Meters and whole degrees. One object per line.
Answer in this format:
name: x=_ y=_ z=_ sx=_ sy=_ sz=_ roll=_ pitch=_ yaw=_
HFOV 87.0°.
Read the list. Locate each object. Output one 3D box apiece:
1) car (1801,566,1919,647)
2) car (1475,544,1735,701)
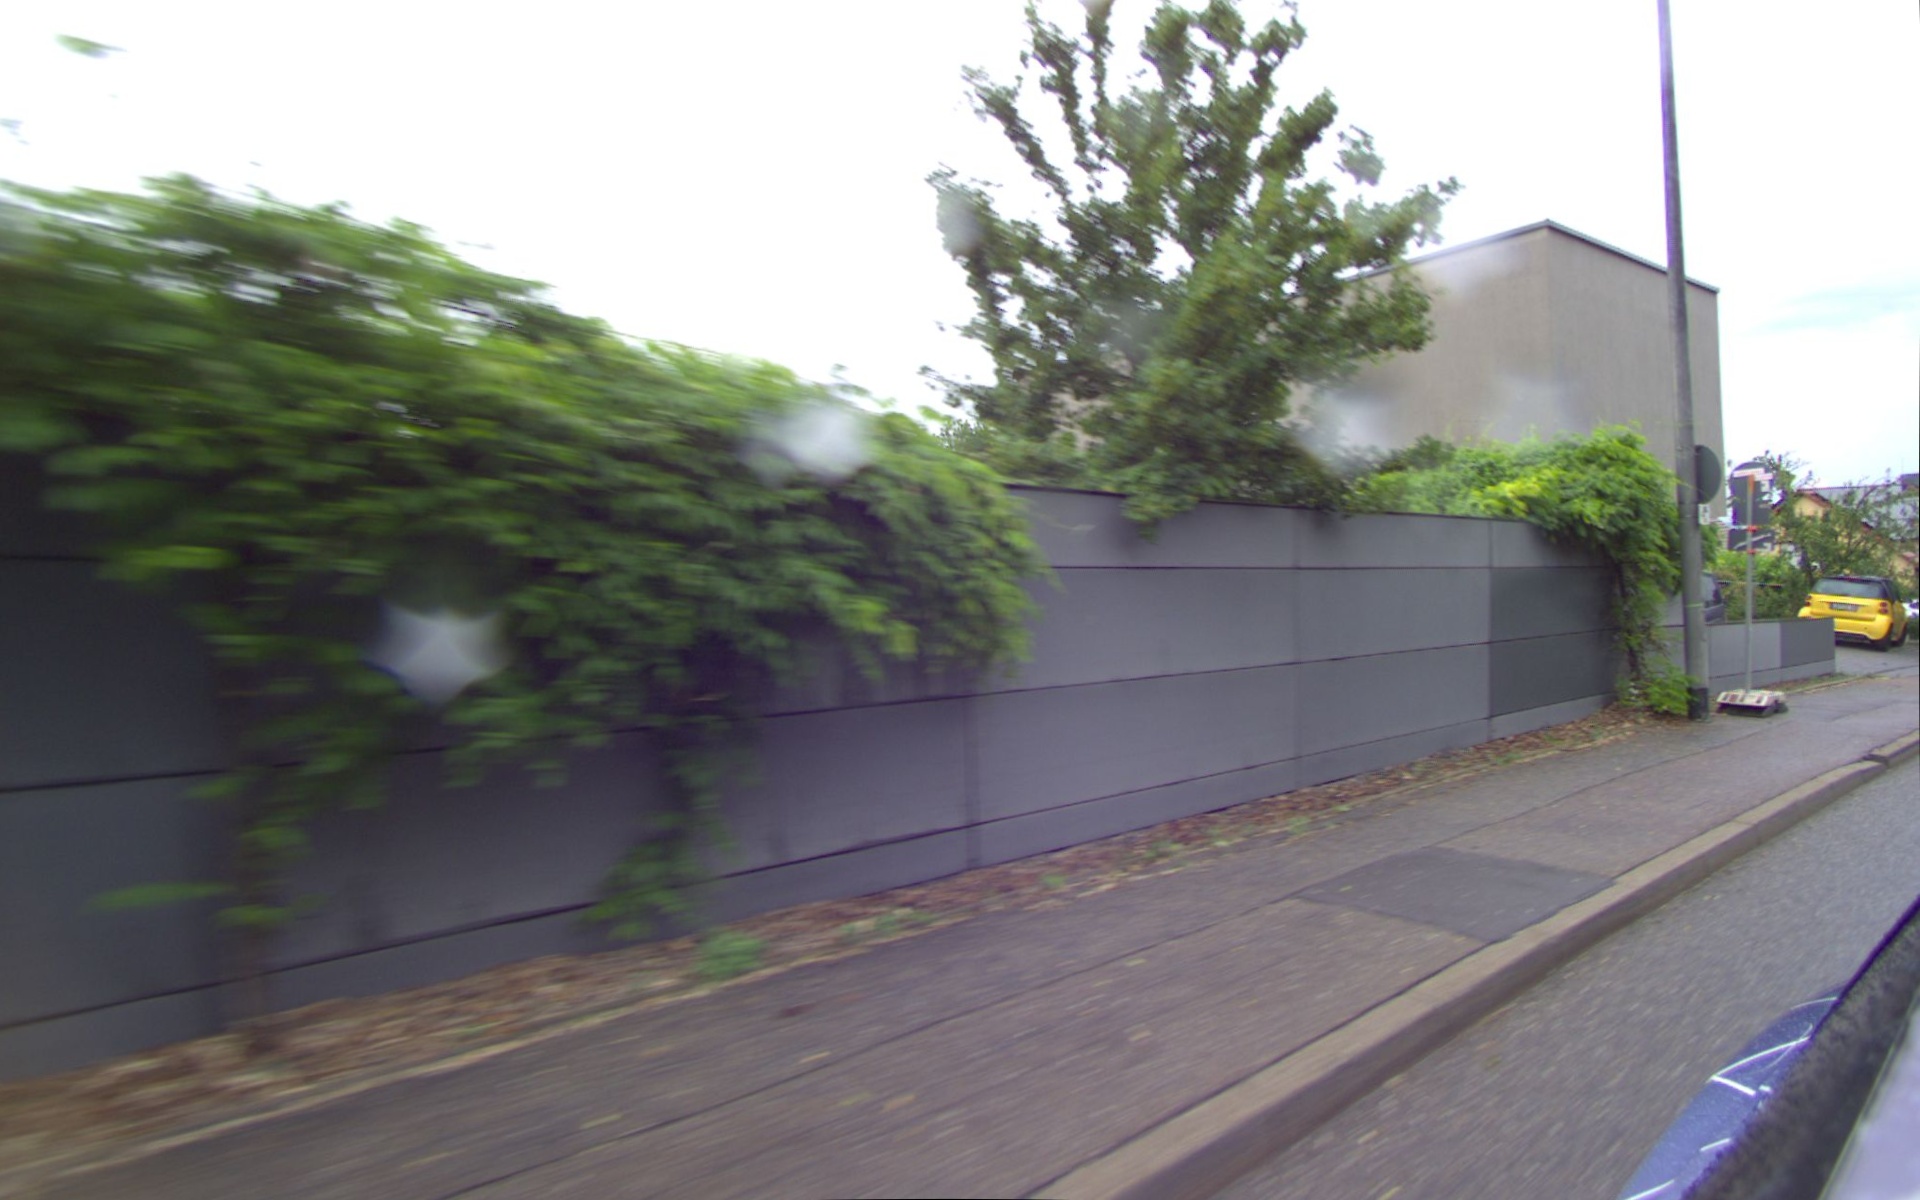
car: x=20.347 y=0.076 z=22.652 sx=3.366 sy=1.510 sz=1.633 roll=-2 pitch=8 yaw=-40
car: x=10.174 y=0.205 z=15.826 sx=4.689 sy=1.964 sz=1.999 roll=-5 pitch=4 yaw=-38
